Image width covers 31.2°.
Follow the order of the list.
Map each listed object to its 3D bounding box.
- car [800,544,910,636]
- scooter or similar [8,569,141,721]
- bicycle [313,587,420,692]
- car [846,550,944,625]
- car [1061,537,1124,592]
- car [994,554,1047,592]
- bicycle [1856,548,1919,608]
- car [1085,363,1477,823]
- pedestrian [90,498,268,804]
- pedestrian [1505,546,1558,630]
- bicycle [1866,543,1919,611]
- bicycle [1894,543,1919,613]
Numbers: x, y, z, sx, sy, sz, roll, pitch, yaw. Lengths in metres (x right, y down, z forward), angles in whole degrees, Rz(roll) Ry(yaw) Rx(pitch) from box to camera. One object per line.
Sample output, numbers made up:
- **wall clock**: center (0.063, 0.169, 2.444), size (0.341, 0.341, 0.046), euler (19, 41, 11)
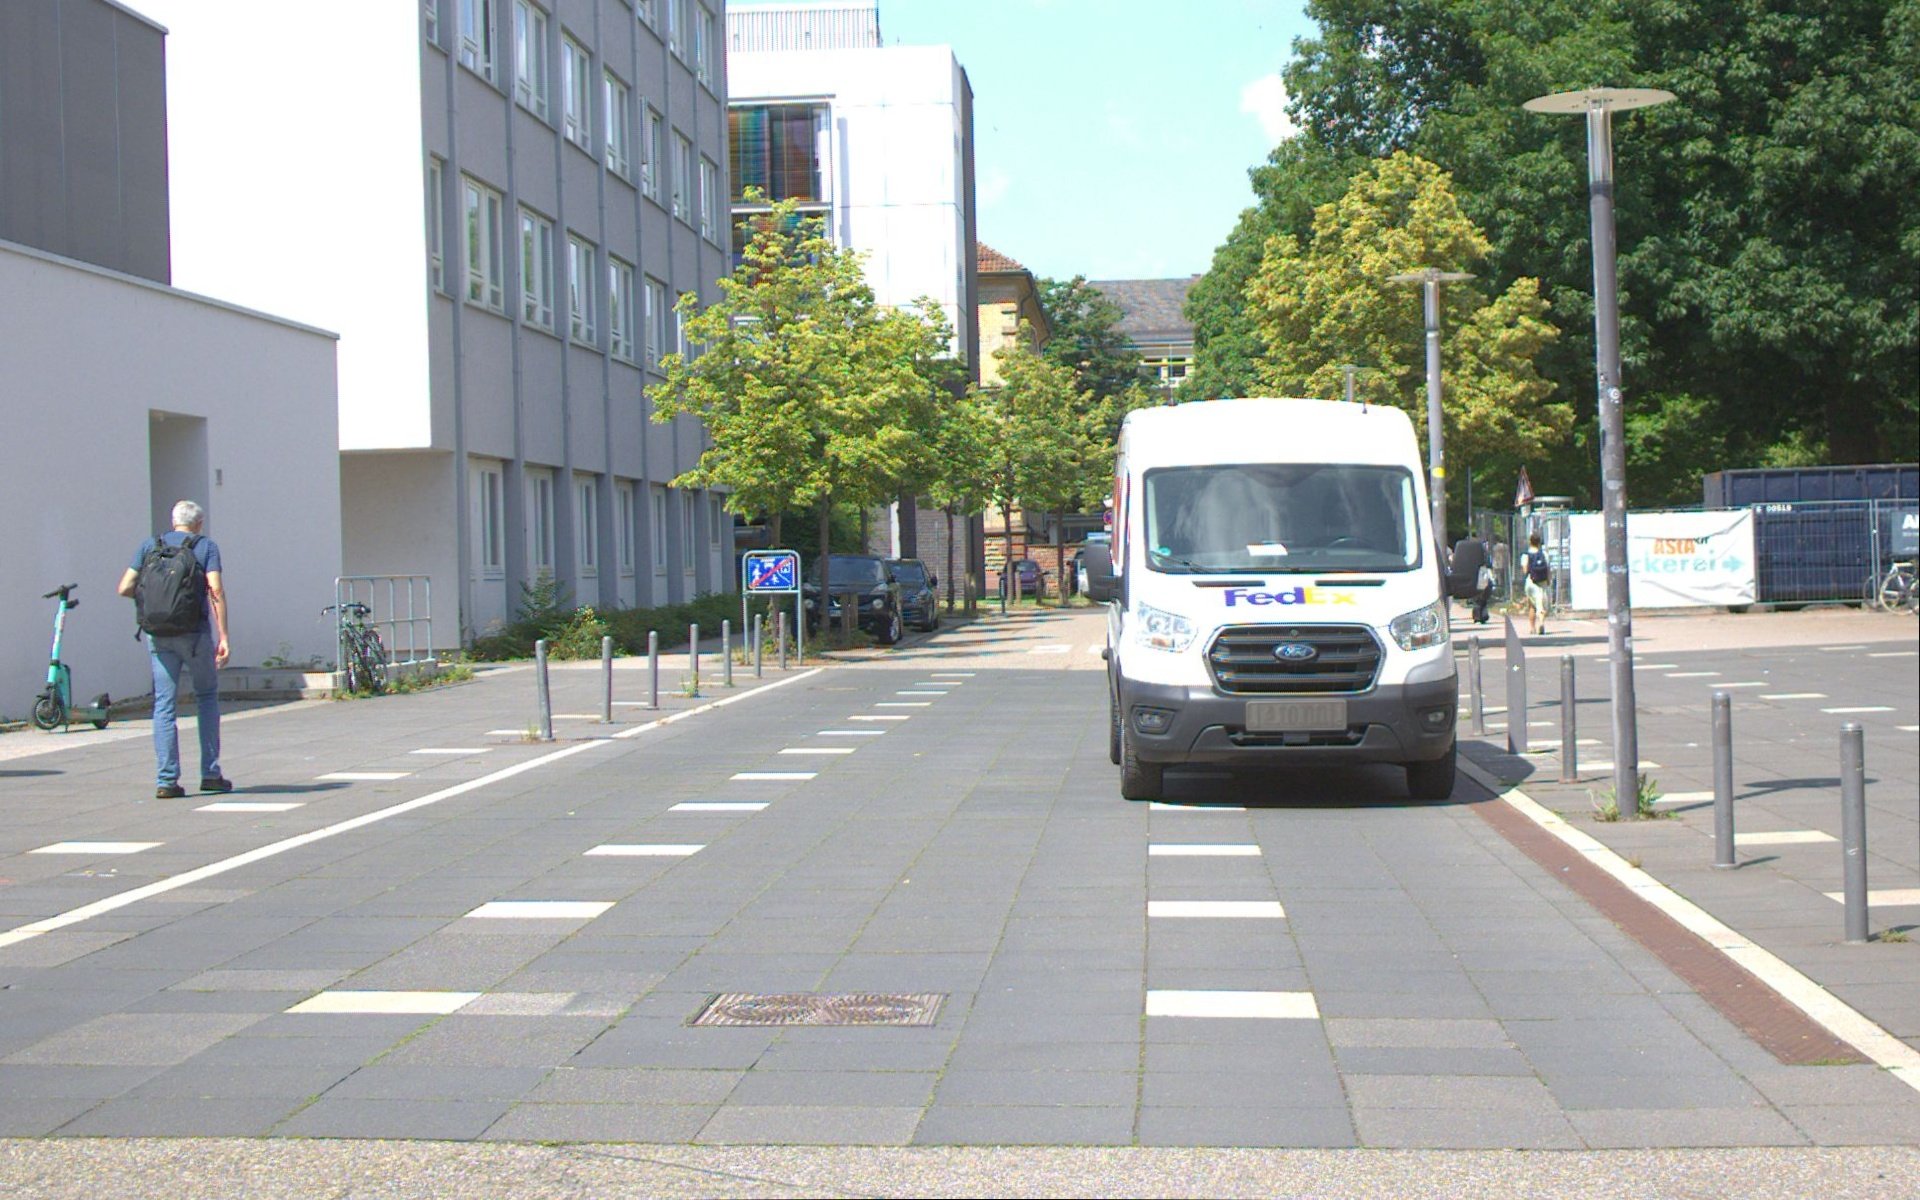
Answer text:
- **car**: center (-1.843, -0.202, 61.225), size (1.697, 1.558, 4.068), euler (-1, 1, 2)
- **scooter or similar**: center (-7.595, 0.375, 29.524), size (0.483, 1.259, 1.312), euler (-1, 1, 16)
- **bicycle**: center (-6.333, 0.408, 36.735), size (0.543, 1.058, 1.898), euler (-1, 1, 8)
- **car**: center (-1.285, -0.280, 69.324), size (1.778, 1.456, 4.259), euler (0, 1, 2)
- **car**: center (4.788, -1.297, 124.765), size (2.175, 1.919, 5.186), euler (-1, 1, 1)
- **car**: center (2.215, -0.974, 124.900), size (1.817, 1.319, 3.768), euler (-1, 1, 2)
- **bicycle**: center (16.420, -0.386, 59.516), size (1.671, 1.000, 0.448), euler (-1, 1, 4)
- **car**: center (1.911, -0.086, 22.269), size (2.059, 2.534, 5.850), euler (-1, 1, 1)
- **pedestrian**: center (-4.792, 0.298, 21.160), size (0.823, 1.811, 1.144), euler (-1, 1, -2)
- **pedestrian**: center (9.110, -0.195, 54.820), size (0.696, 1.326, 0.716), euler (-1, 1, 1)
- **bicycle**: center (15.992, -0.389, 57.185), size (1.701, 1.105, 0.448), euler (-1, 1, 4)
- **bicycle**: center (15.953, -0.367, 55.125), size (1.806, 1.105, 0.448), euler (-1, 1, 4)
